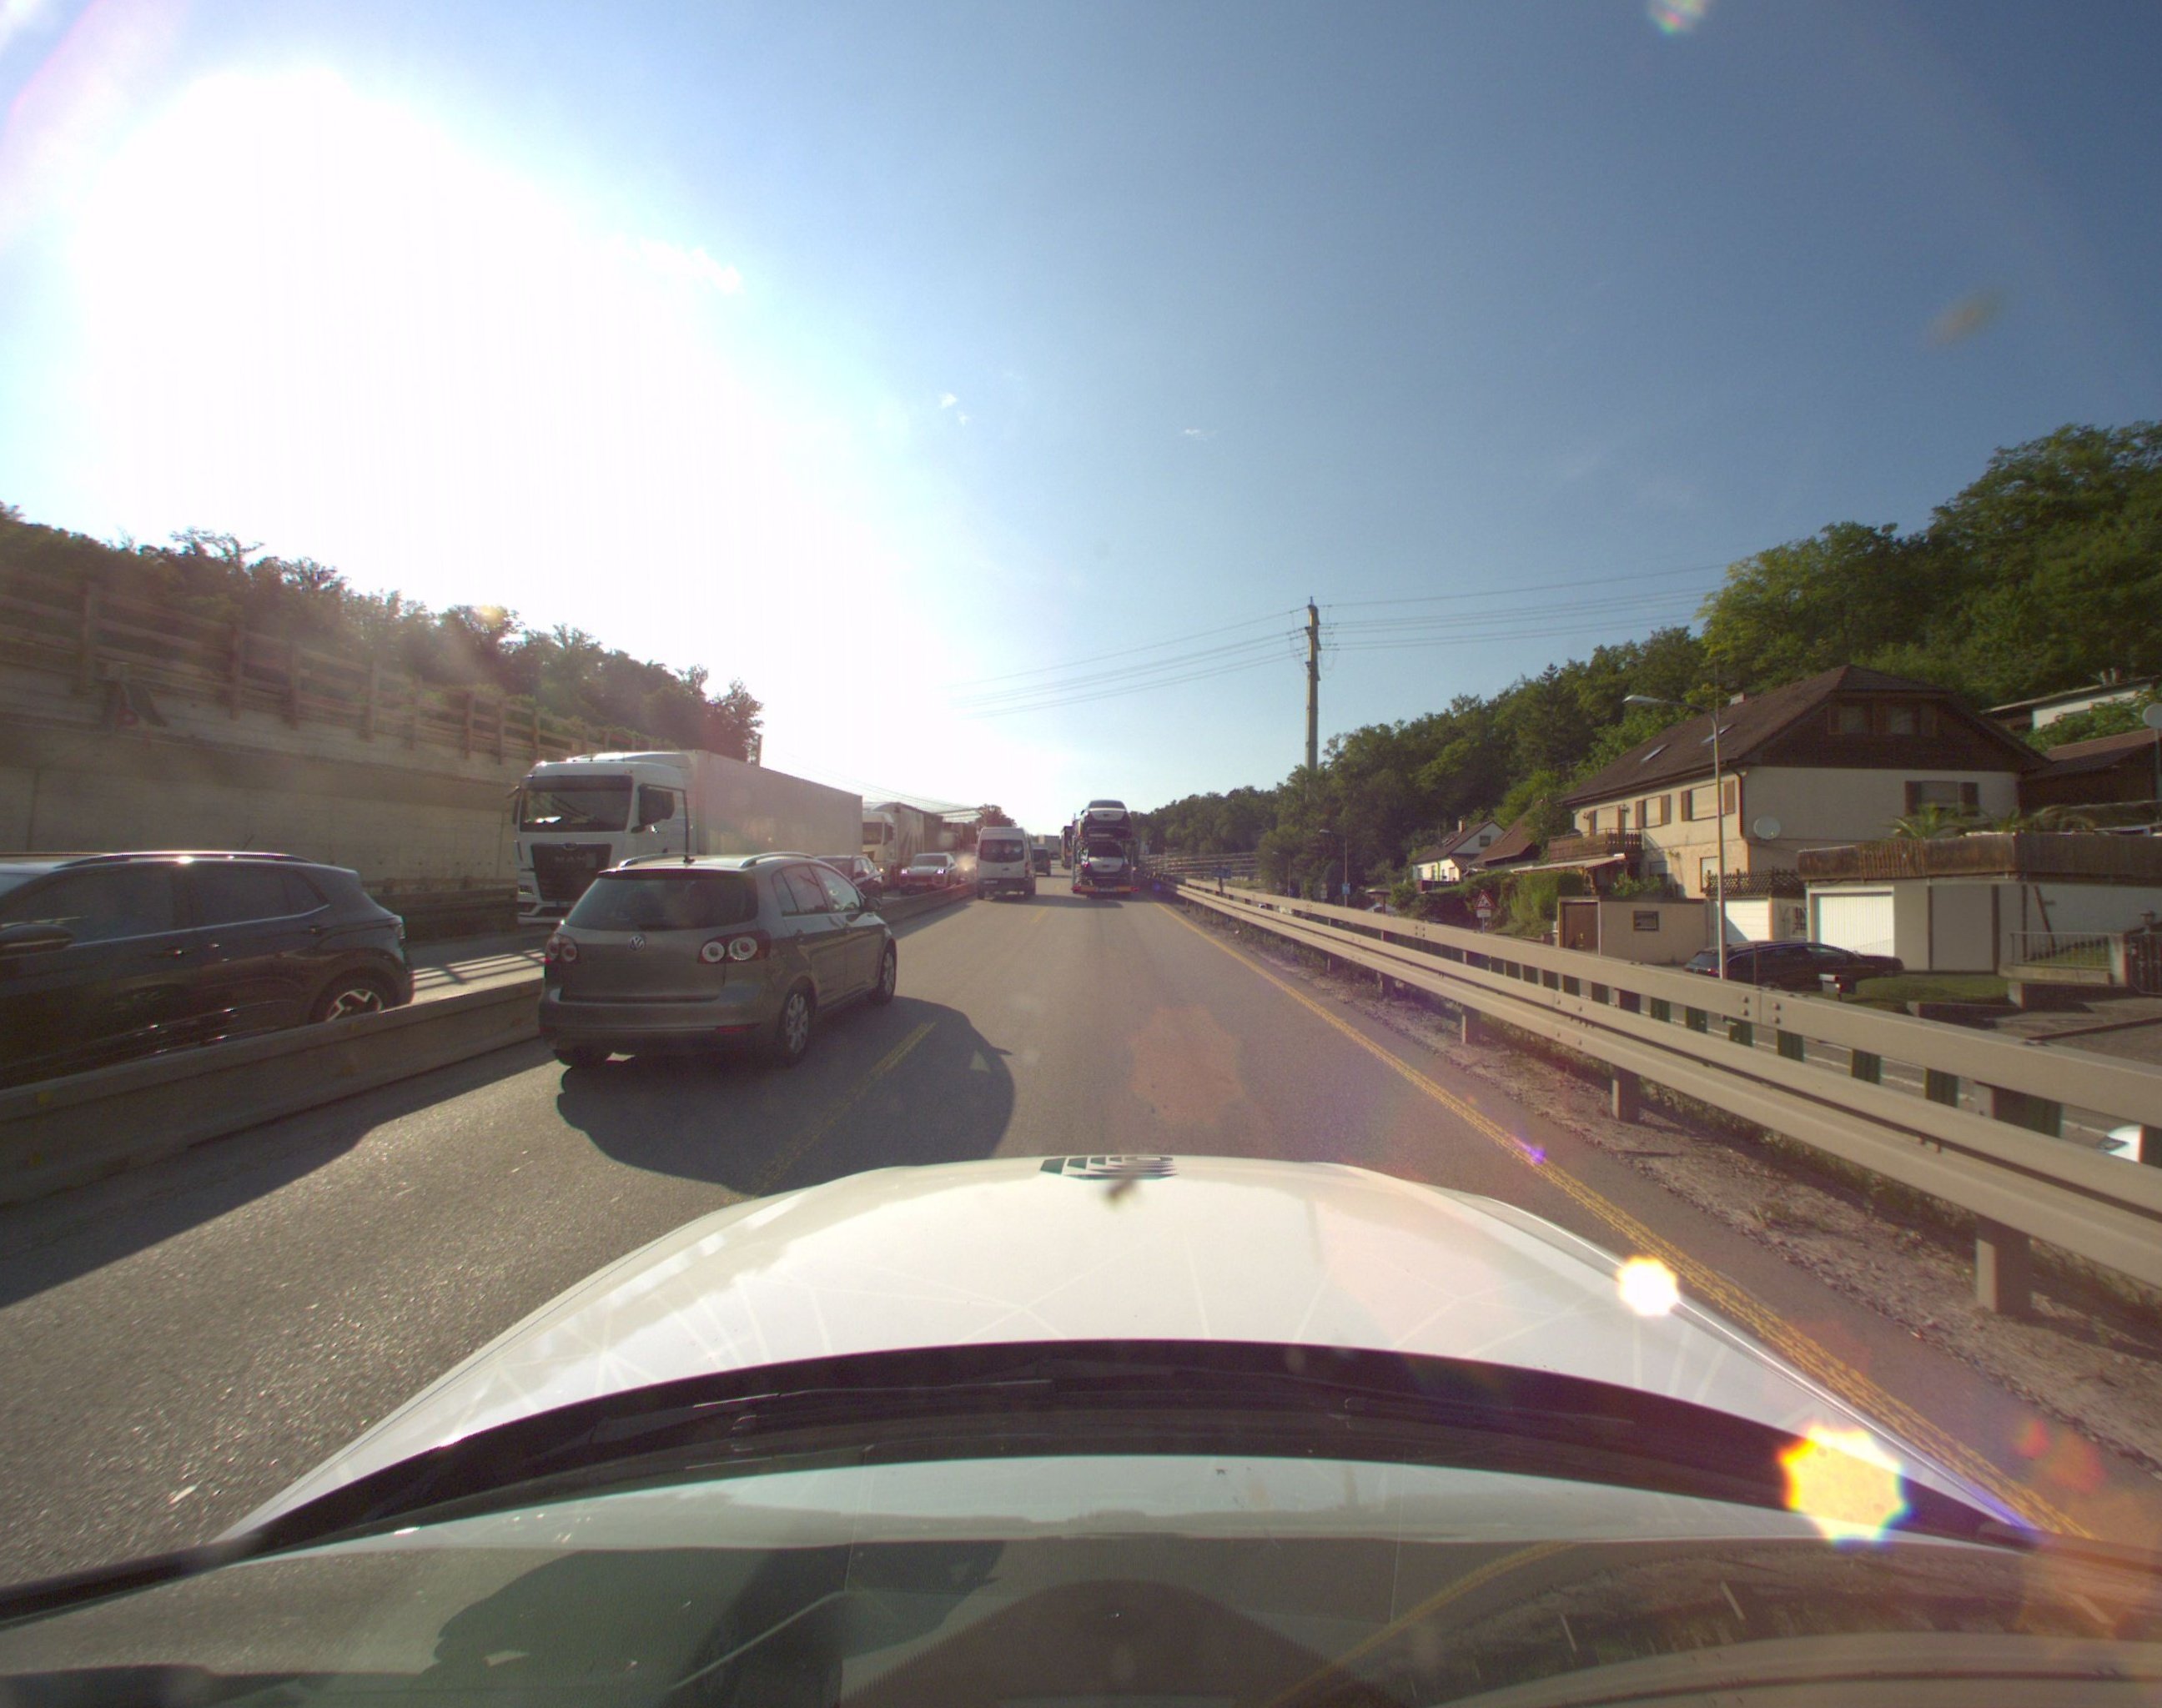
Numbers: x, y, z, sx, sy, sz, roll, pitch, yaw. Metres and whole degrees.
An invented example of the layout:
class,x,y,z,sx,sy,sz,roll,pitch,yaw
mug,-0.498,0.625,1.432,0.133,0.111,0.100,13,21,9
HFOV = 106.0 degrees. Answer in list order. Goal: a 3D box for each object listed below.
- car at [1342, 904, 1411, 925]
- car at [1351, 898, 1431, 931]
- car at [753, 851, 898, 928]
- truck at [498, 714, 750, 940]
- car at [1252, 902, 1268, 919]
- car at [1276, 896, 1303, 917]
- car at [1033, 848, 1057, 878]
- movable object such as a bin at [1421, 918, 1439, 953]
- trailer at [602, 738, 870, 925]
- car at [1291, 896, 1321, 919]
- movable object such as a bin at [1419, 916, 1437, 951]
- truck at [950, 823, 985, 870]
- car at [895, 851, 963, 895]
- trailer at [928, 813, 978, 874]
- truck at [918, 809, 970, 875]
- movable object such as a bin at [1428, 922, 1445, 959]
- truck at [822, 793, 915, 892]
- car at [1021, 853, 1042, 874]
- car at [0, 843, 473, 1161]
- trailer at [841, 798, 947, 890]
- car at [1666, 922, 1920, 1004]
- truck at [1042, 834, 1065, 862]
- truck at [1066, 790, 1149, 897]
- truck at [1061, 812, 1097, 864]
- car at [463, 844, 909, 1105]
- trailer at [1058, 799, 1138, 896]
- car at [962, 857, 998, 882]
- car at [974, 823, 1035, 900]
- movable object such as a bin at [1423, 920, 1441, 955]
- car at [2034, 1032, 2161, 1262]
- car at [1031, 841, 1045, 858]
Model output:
class,x,y,z,sx,sy,sz,roll,pitch,yaw
car,24.345,4.978,67.231,5.067,1.557,1.717,1,-2,4
car,23.772,4.608,62.558,5.442,2.264,2.002,1,-2,4
car,-6.128,0.811,20.201,1.873,1.607,4.733,2,-1,2
truck,-9.836,-0.498,18.300,2.446,4.316,5.475,0,-1,1
car,17.787,5.610,81.011,1.516,1.461,4.281,0,-1,11
car,21.548,5.411,84.267,1.853,1.986,5.058,0,-2,5
car,-2.612,0.666,59.303,1.524,2.014,3.998,2,-1,-1
movable object such as a bin,18.461,4.305,43.082,0.532,1.770,0.409,10,-1,9
trailer,-9.725,-0.456,25.678,2.447,4.320,13.775,0,-1,1
car,20.398,4.840,74.043,1.985,1.917,4.873,0,-2,7
movable object such as a bin,18.554,4.239,43.508,0.526,1.770,0.417,10,-1,9
truck,-10.153,-0.665,73.452,2.744,4.115,5.023,-1,0,-4
car,-6.346,0.790,34.646,2.002,1.655,4.971,2,-1,-1
trailer,-9.811,-0.752,63.230,2.904,4.465,7.146,1,0,-2
truck,-9.664,-0.800,57.905,2.912,4.514,5.023,1,-1,-2
movable object such as a bin,18.246,4.434,41.783,0.487,1.770,0.415,10,-1,9
truck,-9.651,-0.447,37.720,2.756,4.203,6.112,0,-1,-1
car,-4.620,0.890,76.454,1.829,1.963,4.893,0,-1,-3
car,-6.177,0.743,4.866,1.693,1.576,4.371,0,-1,2
trailer,-9.718,-0.383,44.322,2.767,4.203,13.827,0,-1,-1
car,18.034,2.744,20.839,4.472,1.525,2.003,-6,-3,5
truck,-4.724,-1.112,140.794,3.638,4.676,11.688,0,1,-2
truck,0.930,-0.368,33.026,2.864,3.980,5.764,0,-1,-4
truck,-0.325,-1.560,79.475,3.219,4.676,11.688,0,1,-2
car,-2.861,0.758,7.061,1.694,1.587,4.149,0,-1,2
trailer,0.484,-0.209,41.338,2.868,3.994,15.259,0,-1,-3
car,-6.388,0.975,51.912,1.769,1.457,4.811,2,-1,-1
car,-2.817,0.277,30.783,1.974,2.684,4.144,0,-1,-1
movable object such as a bin,18.382,4.374,42.663,0.487,1.770,0.415,10,-1,9
car,9.304,2.371,5.105,1.660,1.662,4.477,0,-2,6
car,-5.308,-0.533,100.689,1.525,2.014,3.995,2,-1,-3
